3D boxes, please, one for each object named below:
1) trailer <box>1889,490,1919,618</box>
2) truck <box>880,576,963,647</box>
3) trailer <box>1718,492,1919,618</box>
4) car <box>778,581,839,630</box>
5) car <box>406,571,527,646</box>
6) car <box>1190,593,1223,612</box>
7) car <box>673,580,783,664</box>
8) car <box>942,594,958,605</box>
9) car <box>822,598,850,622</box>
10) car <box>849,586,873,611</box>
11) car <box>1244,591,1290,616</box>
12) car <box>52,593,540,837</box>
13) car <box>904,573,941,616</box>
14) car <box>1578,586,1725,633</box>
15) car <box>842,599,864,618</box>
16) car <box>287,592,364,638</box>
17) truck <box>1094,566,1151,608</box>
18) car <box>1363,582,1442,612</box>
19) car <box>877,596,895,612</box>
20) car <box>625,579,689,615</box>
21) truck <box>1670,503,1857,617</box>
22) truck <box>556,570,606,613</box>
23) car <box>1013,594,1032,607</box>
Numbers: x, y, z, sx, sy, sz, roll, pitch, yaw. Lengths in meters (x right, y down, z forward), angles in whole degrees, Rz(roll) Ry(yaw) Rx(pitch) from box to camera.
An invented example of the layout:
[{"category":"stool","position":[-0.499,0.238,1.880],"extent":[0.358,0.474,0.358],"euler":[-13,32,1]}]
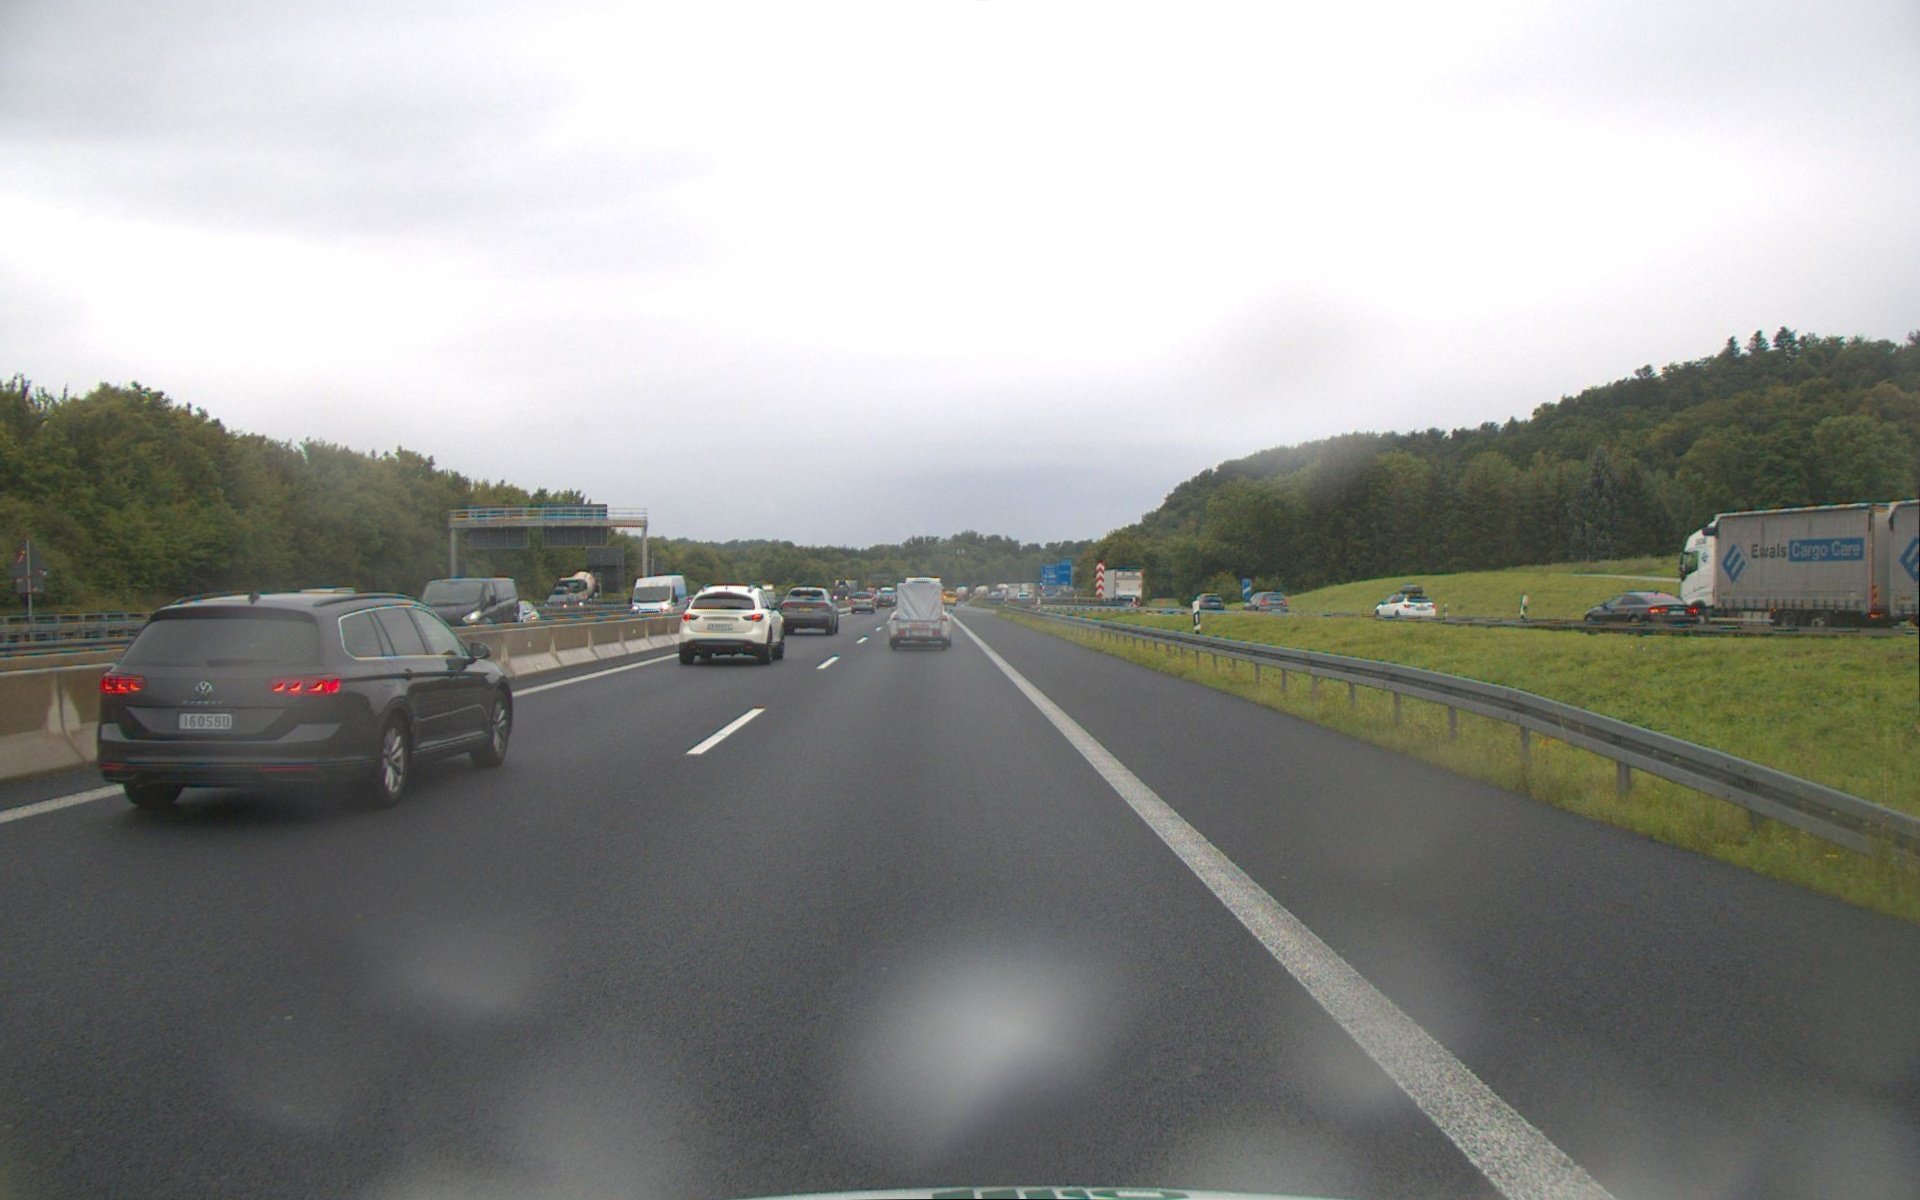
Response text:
[{"category":"trailer","position":[28.817,-1.267,43.849],"extent":[3.020,3.588,8.071],"euler":[1,0,-8]},{"category":"truck","position":[-1.147,0.295,47.554],"extent":[2.197,1.871,6.582],"euler":[1,0,-2]},{"category":"trailer","position":[27.686,-1.287,52.039],"extent":[2.883,3.588,8.405],"euler":[1,0,-8]},{"category":"car","position":[-5.608,0.192,61.712],"extent":[1.936,1.733,4.801],"euler":[1,0,-2]},{"category":"car","position":[-13.091,0.196,44.154],"extent":[1.953,1.868,4.677],"euler":[1,0,-2]},{"category":"car","position":[17.916,0.172,120.132],"extent":[1.663,1.311,3.532],"euler":[1,0,-3]},{"category":"car","position":[-4.998,0.447,36.209],"extent":[2.008,1.700,4.538],"euler":[1,0,-4]},{"category":"car","position":[-1.477,-0.036,237.408],"extent":[1.955,1.579,3.995],"euler":[1,0,-6]},{"category":"car","position":[-9.130,0.713,122.107],"extent":[1.782,1.691,4.016],"euler":[0,0,-1]},{"category":"car","position":[-7.593,-0.124,127.355],"extent":[1.703,1.825,3.999],"euler":[1,0,-1]},{"category":"car","position":[17.011,0.201,91.785],"extent":[1.510,1.311,3.529],"euler":[1,0,-7]},{"category":"car","position":[-4.684,0.698,12.552],"extent":[1.751,1.484,4.802],"euler":[1,0,0]},{"category":"car","position":[-2.564,-0.354,111.459],"extent":[2.285,2.773,6.535],"euler":[0,0,-4]},{"category":"car","position":[21.559,0.260,51.809],"extent":[1.948,1.401,5.312],"euler":[0,0,-6]},{"category":"car","position":[-9.518,0.744,147.535],"extent":[1.782,1.691,4.016],"euler":[0,0,-1]},{"category":"car","position":[-29.679,0.678,77.499],"extent":[1.953,2.049,4.713],"euler":[1,0,-2]},{"category":"truck","position":[14.932,-1.187,152.814],"extent":[3.750,3.723,8.263],"euler":[1,0,-5]},{"category":"car","position":[21.900,-0.142,82.081],"extent":[1.949,1.401,5.068],"euler":[0,0,-9]},{"category":"car","position":[-7.530,0.388,168.826],"extent":[1.612,1.601,3.999],"euler":[1,0,-1]},{"category":"car","position":[-14.909,-0.147,81.681],"extent":[2.311,1.722,5.903],"euler":[0,0,-3]},{"category":"truck","position":[27.116,-1.297,56.122],"extent":[2.883,3.588,5.917],"euler":[1,0,-8]},{"category":"truck","position":[-34.364,-0.776,150.242],"extent":[2.631,3.725,9.554],"euler":[-1,0,-2]},{"category":"car","position":[7.861,0.007,209.644],"extent":[1.954,1.579,3.996],"euler":[1,0,-4]}]
